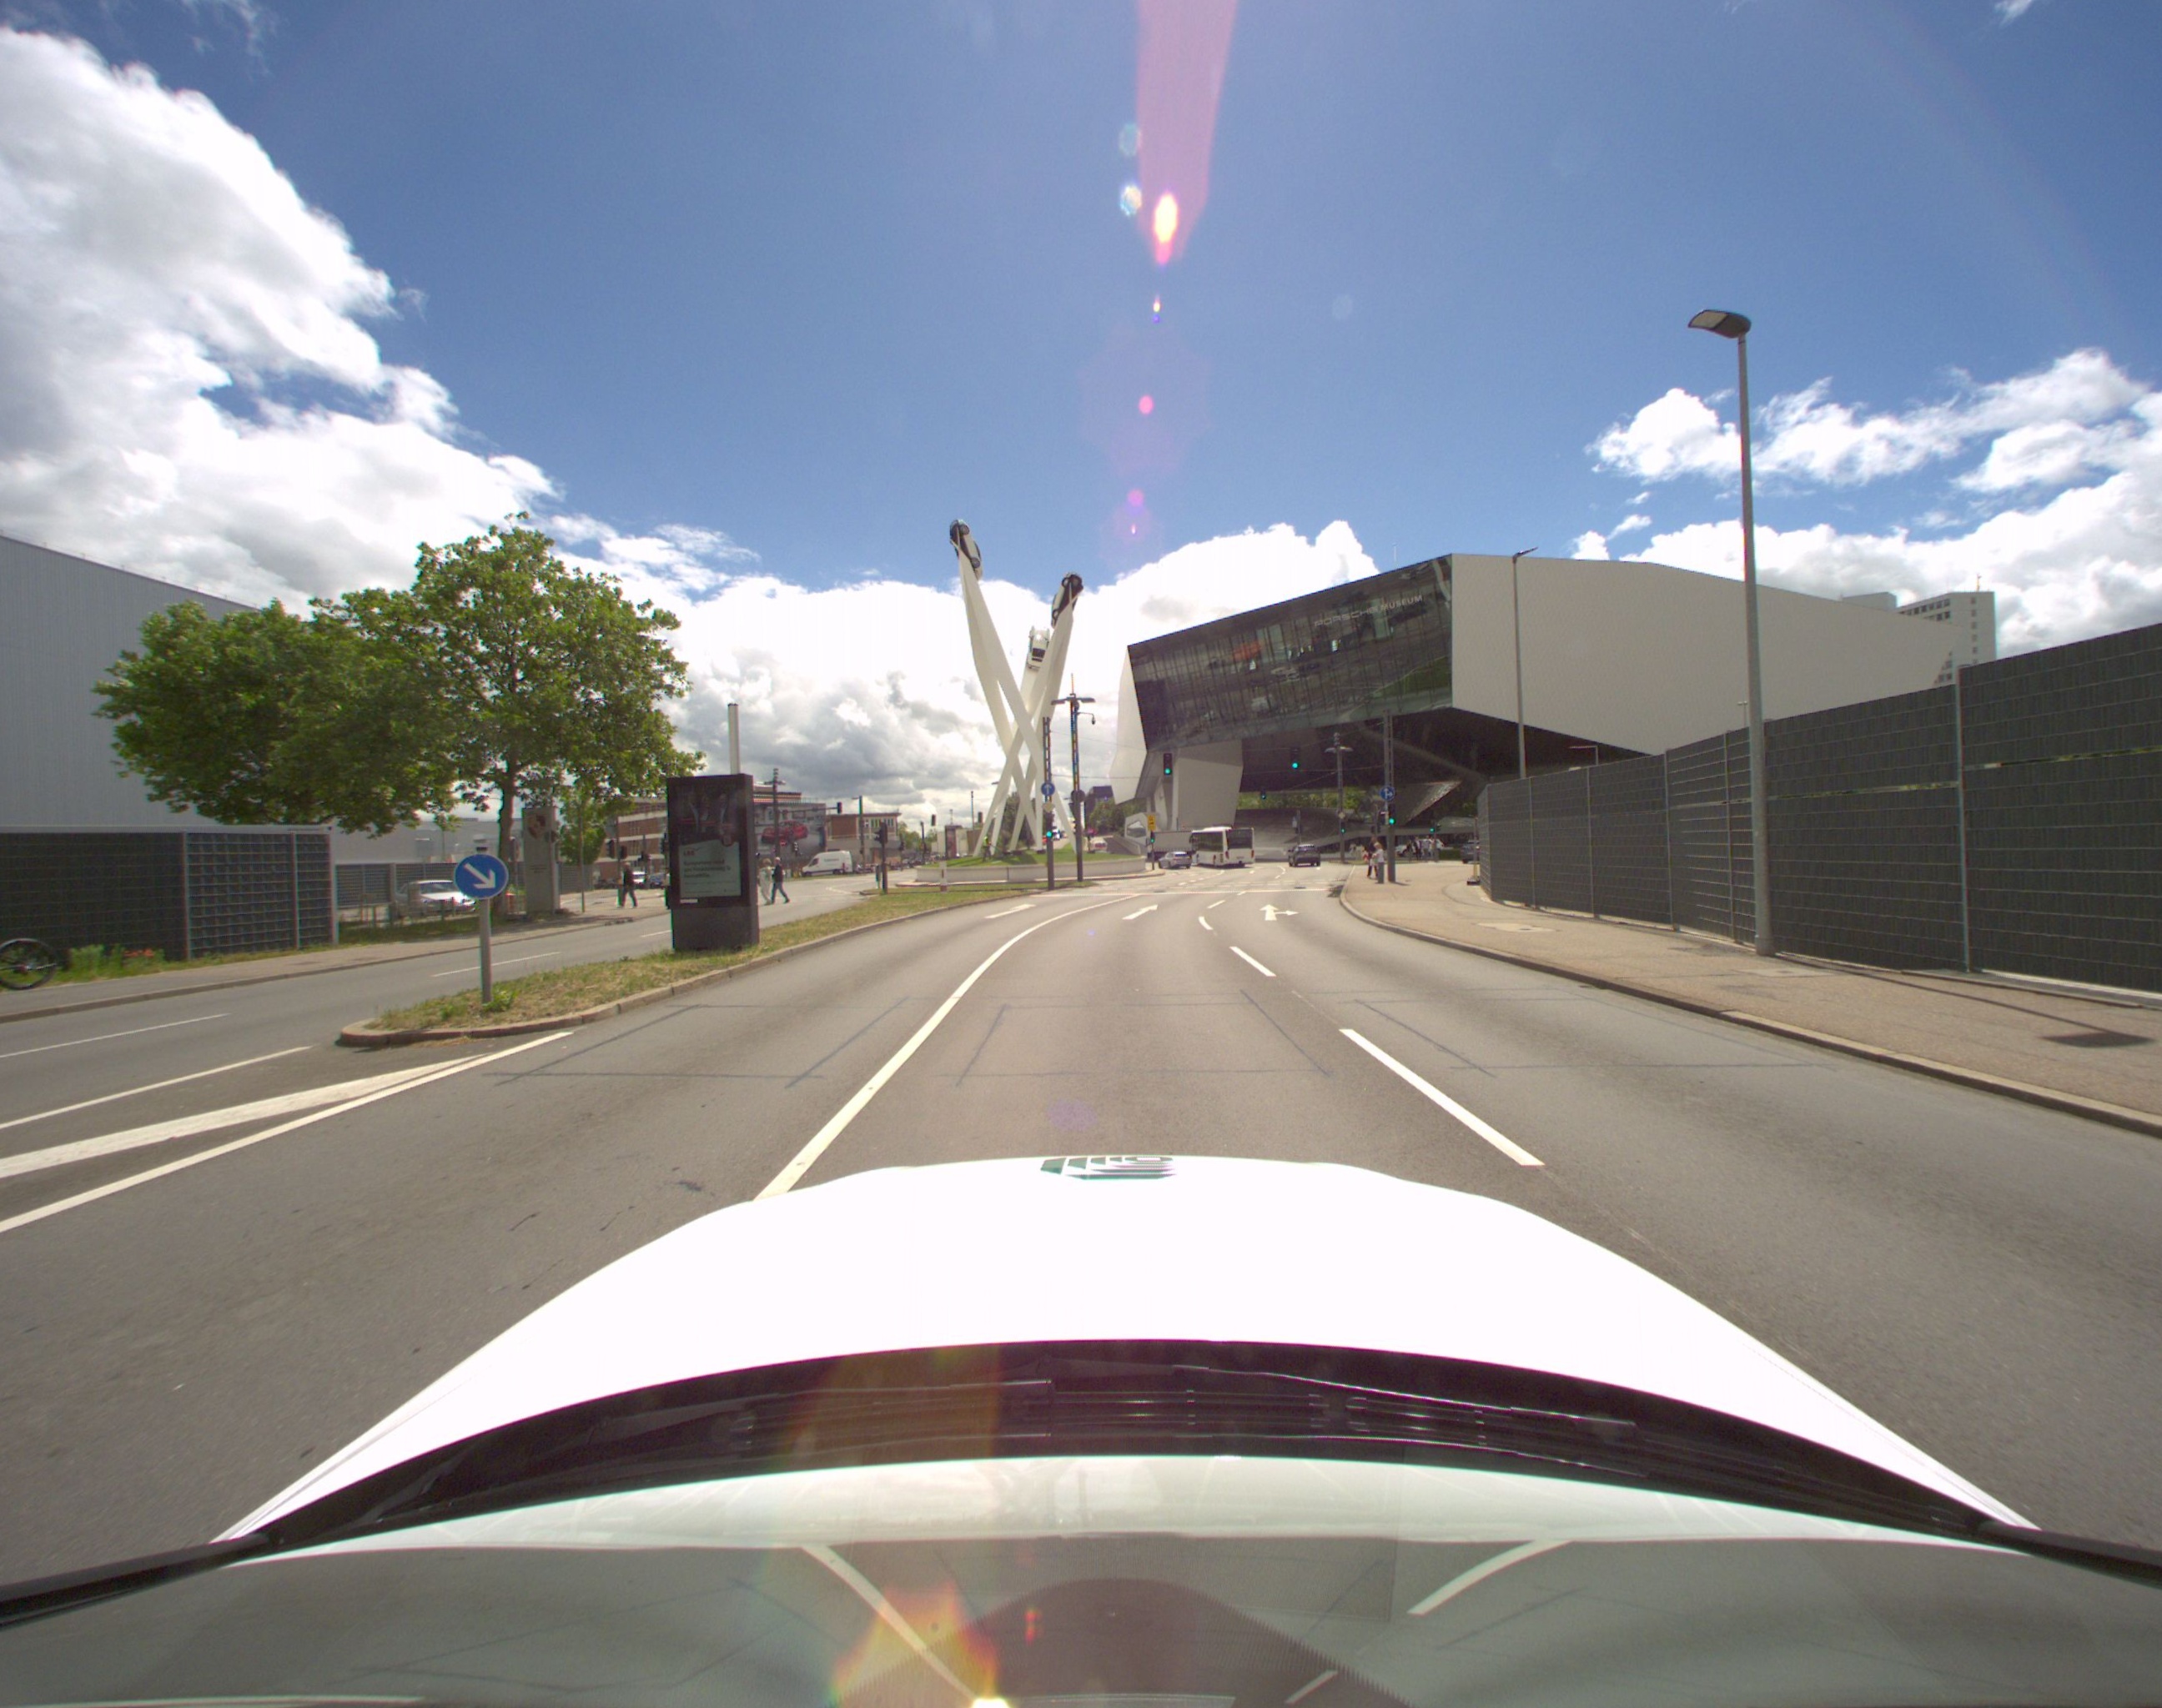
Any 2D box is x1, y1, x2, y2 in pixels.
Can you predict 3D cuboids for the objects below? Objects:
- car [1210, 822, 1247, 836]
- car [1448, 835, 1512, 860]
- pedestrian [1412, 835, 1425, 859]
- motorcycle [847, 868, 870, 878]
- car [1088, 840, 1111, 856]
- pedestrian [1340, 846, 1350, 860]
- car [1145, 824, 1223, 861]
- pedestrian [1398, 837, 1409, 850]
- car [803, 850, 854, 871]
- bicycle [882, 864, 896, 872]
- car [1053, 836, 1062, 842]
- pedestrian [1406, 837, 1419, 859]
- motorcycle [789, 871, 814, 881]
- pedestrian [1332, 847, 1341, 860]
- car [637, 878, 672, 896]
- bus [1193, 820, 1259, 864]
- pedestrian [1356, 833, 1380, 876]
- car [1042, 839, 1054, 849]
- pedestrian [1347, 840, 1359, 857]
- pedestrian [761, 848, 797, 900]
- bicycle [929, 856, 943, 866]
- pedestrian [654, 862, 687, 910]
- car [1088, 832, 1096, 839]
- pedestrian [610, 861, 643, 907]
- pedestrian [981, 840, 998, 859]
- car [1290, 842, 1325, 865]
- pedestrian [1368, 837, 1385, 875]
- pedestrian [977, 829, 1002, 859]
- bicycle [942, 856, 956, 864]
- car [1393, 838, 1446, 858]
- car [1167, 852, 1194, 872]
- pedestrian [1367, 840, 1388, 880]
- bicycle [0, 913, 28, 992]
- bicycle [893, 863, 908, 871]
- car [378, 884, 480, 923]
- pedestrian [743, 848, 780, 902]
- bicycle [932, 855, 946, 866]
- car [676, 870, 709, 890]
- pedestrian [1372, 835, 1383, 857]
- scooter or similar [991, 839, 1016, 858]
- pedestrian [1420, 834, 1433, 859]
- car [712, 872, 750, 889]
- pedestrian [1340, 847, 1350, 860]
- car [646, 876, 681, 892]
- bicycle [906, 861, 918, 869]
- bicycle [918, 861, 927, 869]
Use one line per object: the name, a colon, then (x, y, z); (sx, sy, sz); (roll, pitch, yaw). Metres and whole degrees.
car: (19.296, -3.325, 107.001); (2.012, 1.394, 4.459); (-7, 10, -43)
car: (28.438, -0.444, 58.042); (4.004, 1.702, 1.985); (-1, -1, -23)
pedestrian: (25.070, -0.512, 60.560); (0.623, 1.795, 0.665); (0, -2, -43)
motorcycle: (-29.145, 2.472, 106.621); (2.877, 1.196, 0.925); (-1, -1, 22)
car: (2.293, -0.747, 103.134); (1.995, 1.904, 3.982); (-1, -1, -12)
pedestrian: (31.698, -0.113, 97.728); (0.912, 1.573, 0.835); (-1, -1, 27)
car: (10.647, -1.111, 85.412); (3.355, 3.504, 9.255); (0, -1, -28)
pedestrian: (38.207, -1.230, 96.481); (0.827, 1.573, 0.920); (-1, -1, -9)
car: (-26.557, 0.713, 85.766); (4.612, 2.171, 2.005); (-1, -1, 9)
bicycle: (-23.276, 1.730, 98.717); (0.486, 0.866, 1.621); (-2, 1, 42)
car: (-5.749, -3.703, 199.764); (1.748, 1.397, 4.677); (-1, 2, 2)
pedestrian: (24.508, -0.439, 60.132); (0.676, 1.638, 0.613); (0, -2, -42)
motorcycle: (-33.710, 2.682, 98.367); (2.879, 1.196, 0.924); (-1, -1, 18)
pedestrian: (31.155, -0.081, 99.345); (0.820, 1.573, 0.929); (-1, -1, 28)
car: (-38.488, 2.949, 73.452); (1.813, 1.556, 3.909); (0, -1, -44)
bus: (12.256, -0.890, 70.280); (3.064, 3.362, 12.212); (-1, -1, -2)
pedestrian: (12.773, 0.023, 36.293); (0.660, 1.866, 0.789); (-1, -1, -14)
car: (-6.918, -2.090, 170.837); (1.984, 1.983, 4.844); (-3, 1, 5)
pedestrian: (25.123, -0.521, 75.251); (0.585, 1.496, 0.764); (0, -1, -32)
pedestrian: (-12.108, 0.803, 32.680); (0.944, 2.055, 0.955); (-1, -1, 19)
bicycle: (-18.301, 0.902, 102.721); (1.601, 1.316, 0.492); (-1, -1, -1)
pedestrian: (-15.349, 1.181, 30.502); (0.864, 1.774, 1.031); (-1, -1, -13)
car: (2.793, -4.705, 208.212); (1.986, 1.635, 4.659); (-1, 1, 2)
pedestrian: (-17.868, 1.180, 32.056); (0.864, 1.774, 1.031); (-1, -1, -13)
pedestrian: (-7.239, -0.375, 64.497); (0.845, 1.407, 0.970); (-9, -4, 22)
car: (16.477, -0.045, 59.364); (1.981, 1.636, 4.011); (-1, 0, 9)
pedestrian: (12.904, 0.097, 35.568); (0.462, 1.616, 0.663); (-1, -1, 3)
pedestrian: (-5.896, -0.667, 52.412); (1.284, 1.816, 0.981); (-6, 3, -16)
bicycle: (-18.078, 0.827, 111.708); (1.732, 1.182, 0.670); (-1, 0, -1)
car: (30.276, -0.516, 72.868); (3.966, 1.550, 1.842); (-3, -1, 6)
car: (8.573, 0.705, 70.391); (1.986, 1.637, 4.001); (-1, -1, 1)
pedestrian: (11.874, 0.242, 32.637); (0.655, 1.608, 0.825); (-1, -1, 11)
bicycle: (-15.989, 1.449, 11.470); (0.295, 1.131, 1.486); (-1, -1, 4)
bicycle: (-21.275, 1.551, 96.000); (0.486, 0.866, 1.621); (-2, 2, 41)
car: (-26.533, 2.001, 33.120); (3.949, 1.359, 1.731); (-3, 0, 28)
pedestrian: (-12.426, 0.820, 31.693); (0.944, 2.055, 0.955); (-1, -1, 19)
bicycle: (-18.188, 0.889, 104.349); (1.601, 1.382, 0.492); (-1, -1, -1)
car: (-36.760, 2.432, 77.016); (1.922, 1.797, 3.730); (0, -1, -42)
pedestrian: (28.113, -0.780, 77.237); (0.946, 1.984, 1.387); (-1, 1, 16)
scooter or similar: (-5.004, -0.349, 52.622); (1.404, 1.025, 0.546); (-6, 6, -19)
pedestrian: (25.818, -0.553, 60.855); (0.624, 1.847, 0.664); (0, -2, -45)
car: (-34.070, 2.532, 79.249); (3.949, 1.577, 2.012); (-2, -1, 43)
pedestrian: (32.040, -0.102, 98.881); (0.911, 1.573, 0.836); (-2, -1, 32)
car: (-42.636, 3.015, 83.079); (4.171, 1.556, 1.836); (-2, -1, 43)
bicycle: (-20.267, 1.323, 97.553); (0.486, 0.866, 1.621); (-1, 3, 28)
bicycle: (-19.464, 1.287, 99.946); (0.488, 0.866, 1.616); (-3, 2, 11)
